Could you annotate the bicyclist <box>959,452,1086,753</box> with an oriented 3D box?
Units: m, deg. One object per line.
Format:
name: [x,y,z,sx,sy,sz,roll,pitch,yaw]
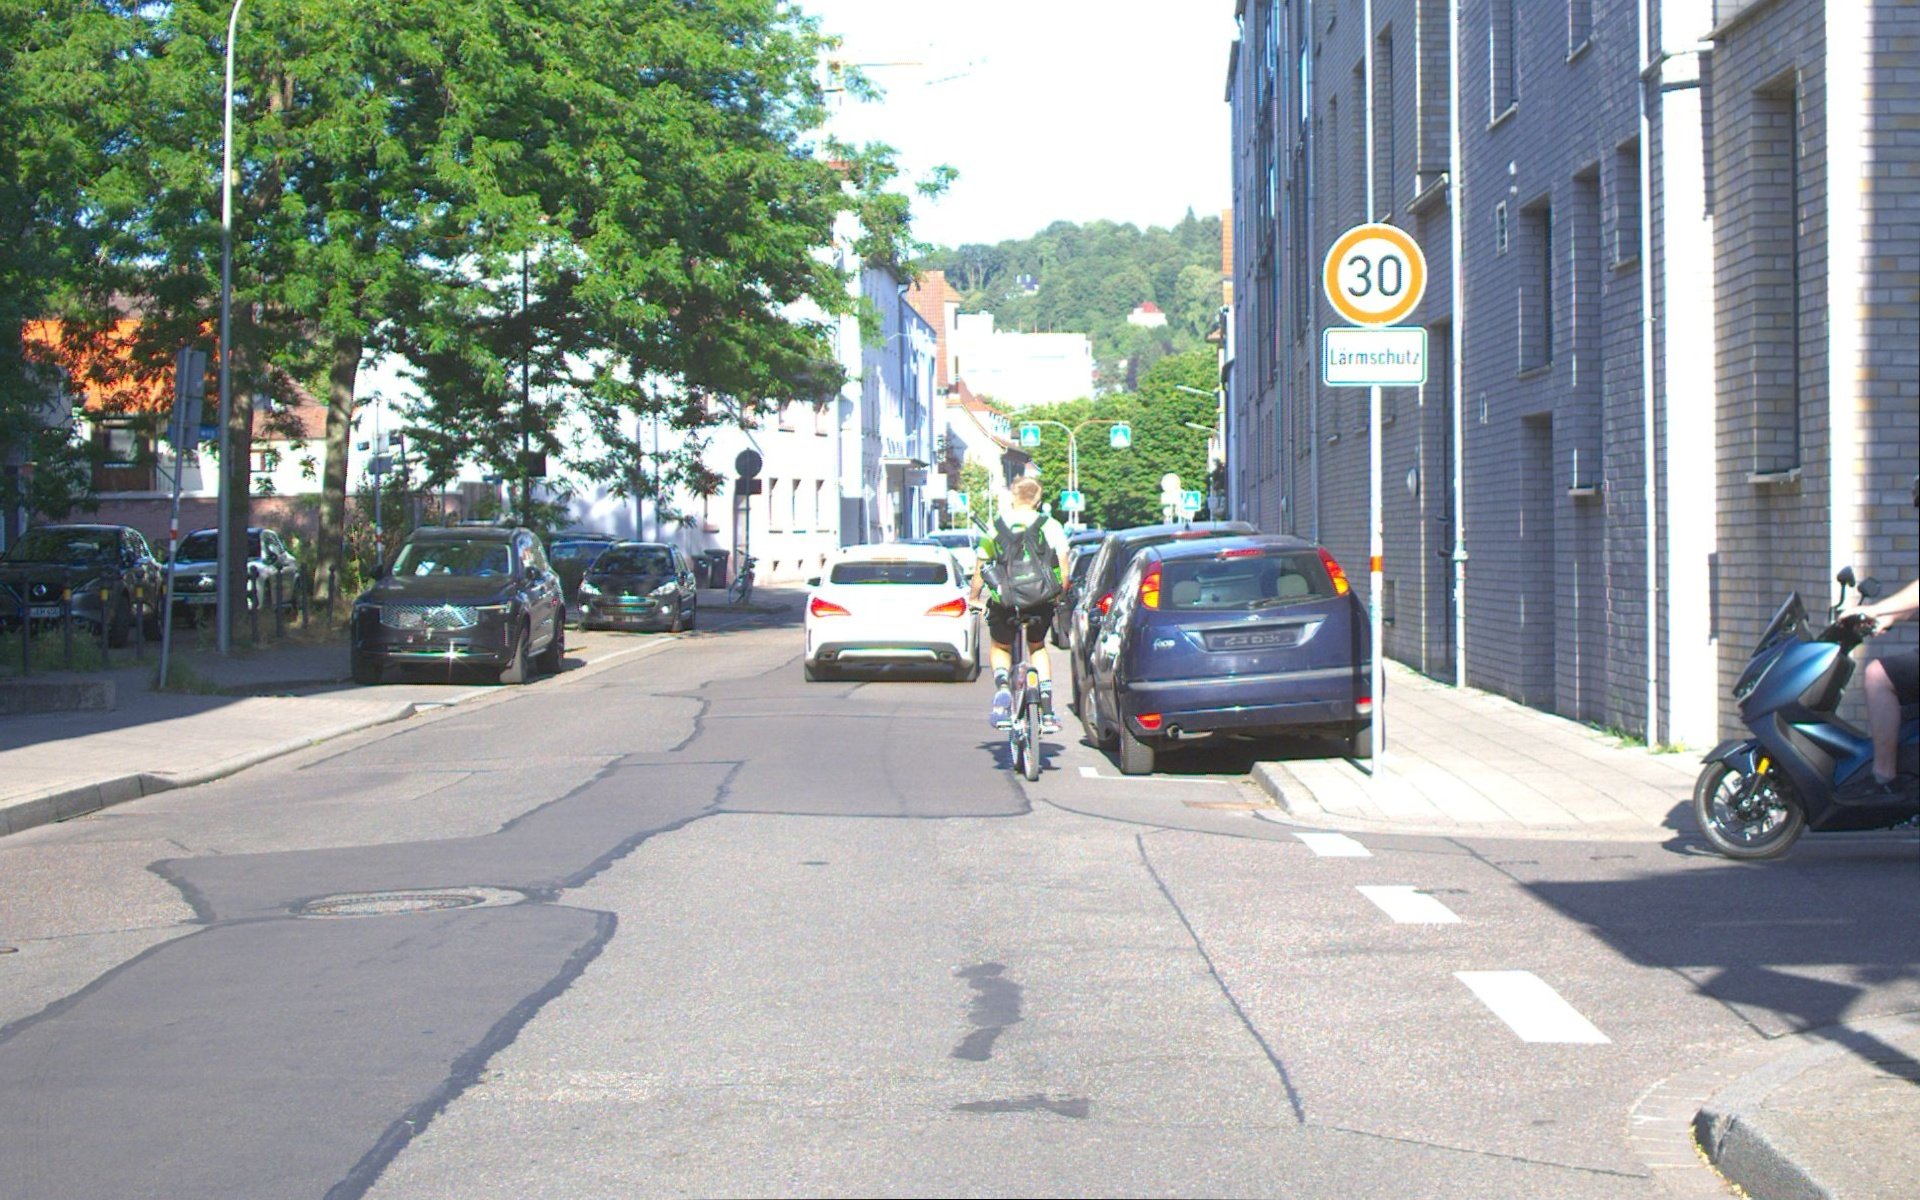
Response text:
bicyclist: [0.376,0.014,21.232,0.698,1.784,1.041,2,0,0]

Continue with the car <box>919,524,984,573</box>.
car: [-0.264,-1.711,114.882,1.945,1.581,4.621,-1,0,2]

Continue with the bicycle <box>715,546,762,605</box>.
bicycle: [-4.751,-0.530,73.800,0.835,1.213,2.842,2,1,-1]

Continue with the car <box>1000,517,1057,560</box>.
car: [2.700,-2.411,135.226,1.945,1.581,4.621,-1,0,4]

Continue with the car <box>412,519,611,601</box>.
car: [-9.499,-0.850,72.950,3.901,1.570,1.710,2,1,2]

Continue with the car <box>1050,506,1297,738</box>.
car: [1.664,0.138,27.915,1.664,1.696,3.914,2,1,-1]

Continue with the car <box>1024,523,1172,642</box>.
car: [1.925,-0.256,49.132,1.857,1.581,4.621,-1,0,-1]

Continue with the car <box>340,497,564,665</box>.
car: [-5.875,-0.242,40.279,1.853,1.785,4.607,2,1,0]

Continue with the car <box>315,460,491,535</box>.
car: [-12.836,-2.348,79.409,3.900,1.570,1.710,2,1,-8]

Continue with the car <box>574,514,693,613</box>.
car: [-5.565,-0.631,58.916,1.704,1.570,3.914,2,1,-1]

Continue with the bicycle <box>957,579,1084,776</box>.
bicycle: [0.358,0.452,21.334,0.698,1.126,2.403,2,0,0]

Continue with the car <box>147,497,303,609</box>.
car: [-12.180,-0.798,57.193,1.789,1.684,3.965,4,1,-2]

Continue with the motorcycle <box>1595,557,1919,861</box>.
motorcycle: [4.031,0.464,14.930,2.338,1.276,0.894,0,-1,29]

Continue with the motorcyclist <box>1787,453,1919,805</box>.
motorcyclist: [4.155,0.130,14.865,0.878,1.468,0.894,2,0,28]

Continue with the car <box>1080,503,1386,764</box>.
car: [1.762,0.194,23.328,1.629,1.581,4.069,-1,0,-1]

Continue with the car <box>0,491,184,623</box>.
car: [-11.795,-0.597,46.228,1.857,1.581,4.622,4,1,-4]

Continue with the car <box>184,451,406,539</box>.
car: [-13.012,-2.048,67.403,3.901,1.570,1.709,2,1,5]

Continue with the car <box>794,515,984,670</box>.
car: [-0.782,-0.087,36.522,1.842,1.486,4.144,2,0,-2]

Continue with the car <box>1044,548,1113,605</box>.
car: [3.970,-0.813,115.561,1.853,1.785,4.608,2,1,-3]
